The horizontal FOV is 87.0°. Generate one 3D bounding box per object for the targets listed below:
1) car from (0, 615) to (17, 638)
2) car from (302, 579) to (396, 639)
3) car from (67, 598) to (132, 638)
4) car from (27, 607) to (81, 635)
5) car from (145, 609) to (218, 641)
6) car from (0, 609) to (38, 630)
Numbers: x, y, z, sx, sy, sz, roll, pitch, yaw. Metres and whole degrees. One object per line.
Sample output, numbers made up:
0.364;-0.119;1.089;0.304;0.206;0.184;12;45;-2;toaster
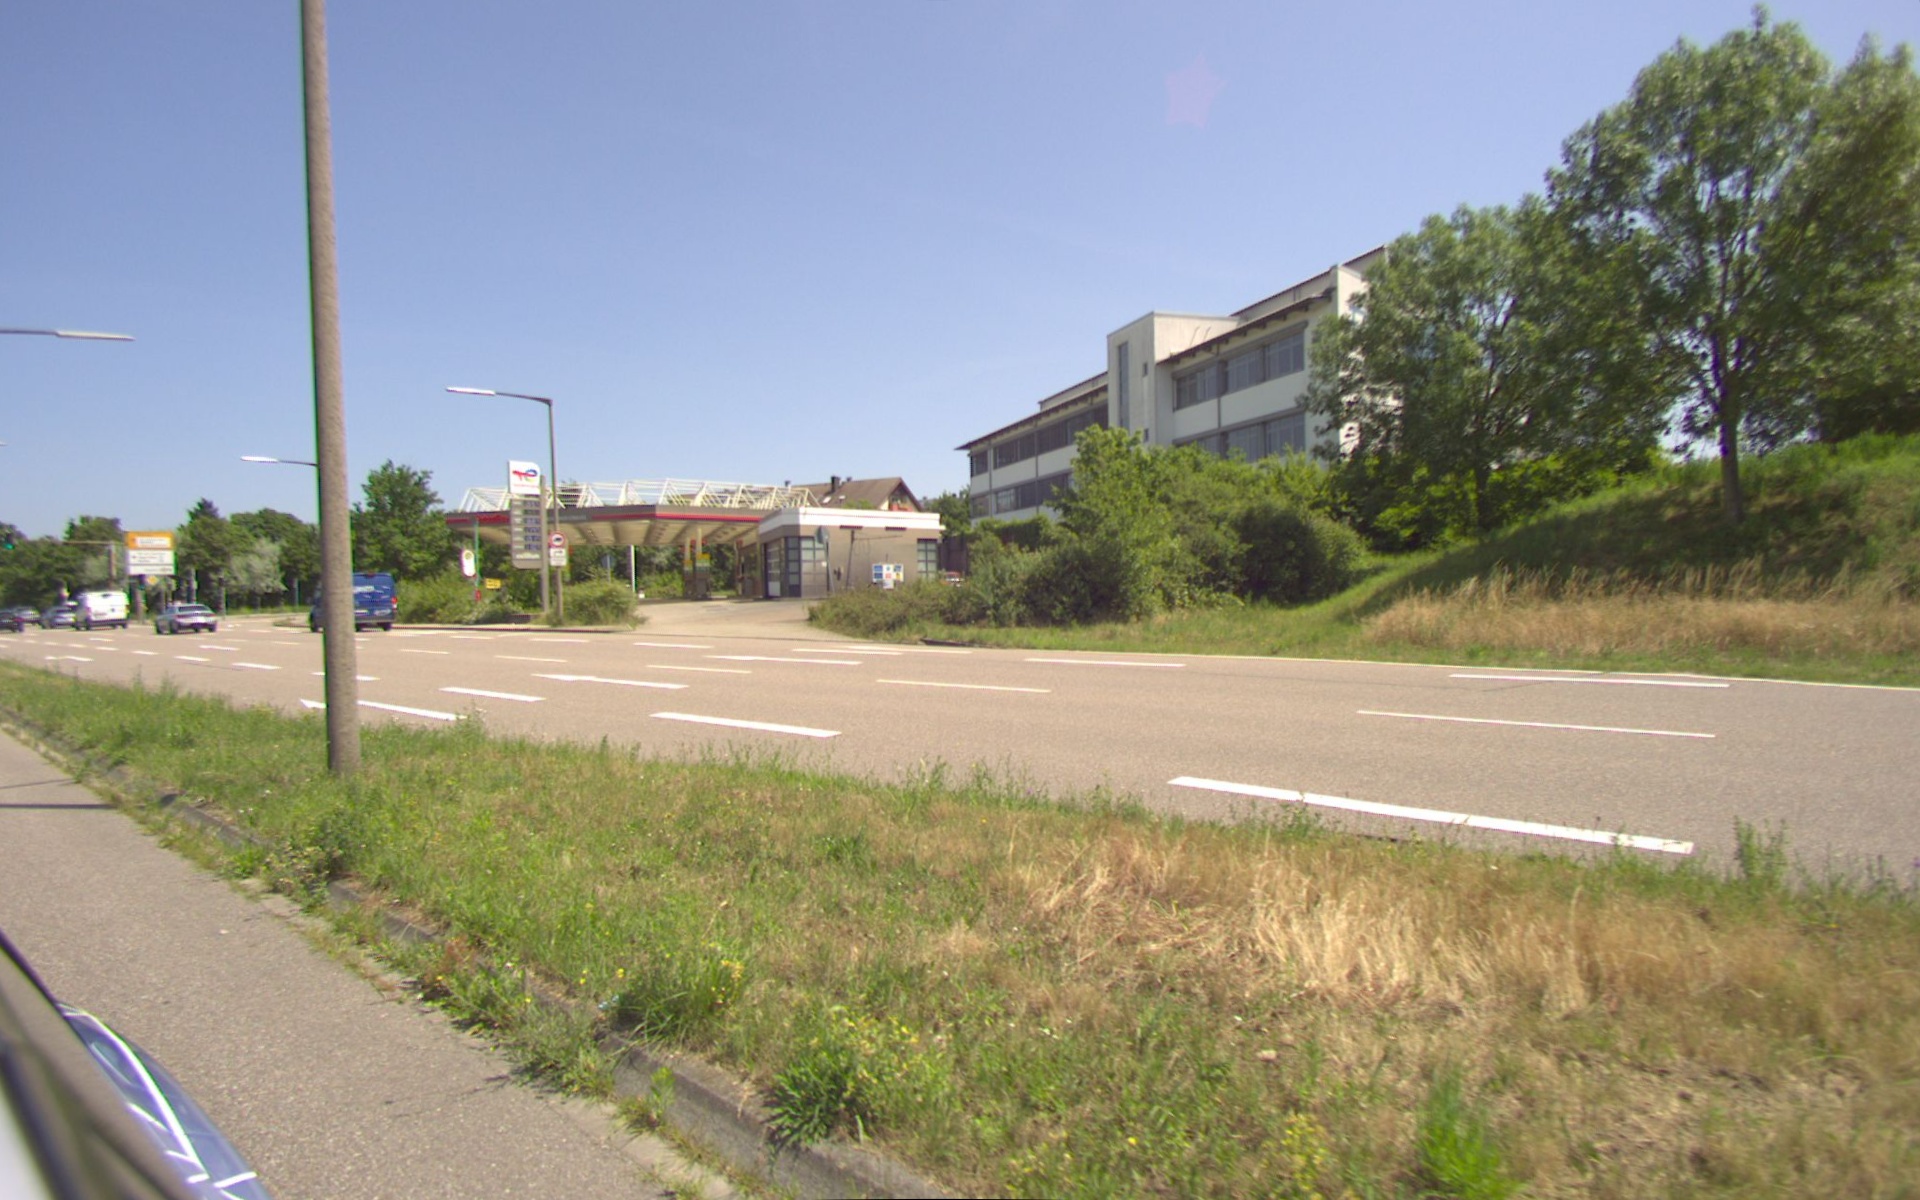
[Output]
-61.862;1.719;64.823;4.562;1.469;1.713;-1;1;42;car
-27.160;0.409;44.907;5.673;2.429;2.149;-1;1;44;car
-53.801;1.098;63.226;5.446;2.290;2.226;-1;2;41;car
-63.492;1.462;70.904;5.017;1.762;1.946;-1;4;39;car
-38.886;1.268;50.516;4.846;1.460;1.813;-1;1;40;car
-77.634;1.600;83.487;3.995;1.551;1.643;-1;3;39;car
